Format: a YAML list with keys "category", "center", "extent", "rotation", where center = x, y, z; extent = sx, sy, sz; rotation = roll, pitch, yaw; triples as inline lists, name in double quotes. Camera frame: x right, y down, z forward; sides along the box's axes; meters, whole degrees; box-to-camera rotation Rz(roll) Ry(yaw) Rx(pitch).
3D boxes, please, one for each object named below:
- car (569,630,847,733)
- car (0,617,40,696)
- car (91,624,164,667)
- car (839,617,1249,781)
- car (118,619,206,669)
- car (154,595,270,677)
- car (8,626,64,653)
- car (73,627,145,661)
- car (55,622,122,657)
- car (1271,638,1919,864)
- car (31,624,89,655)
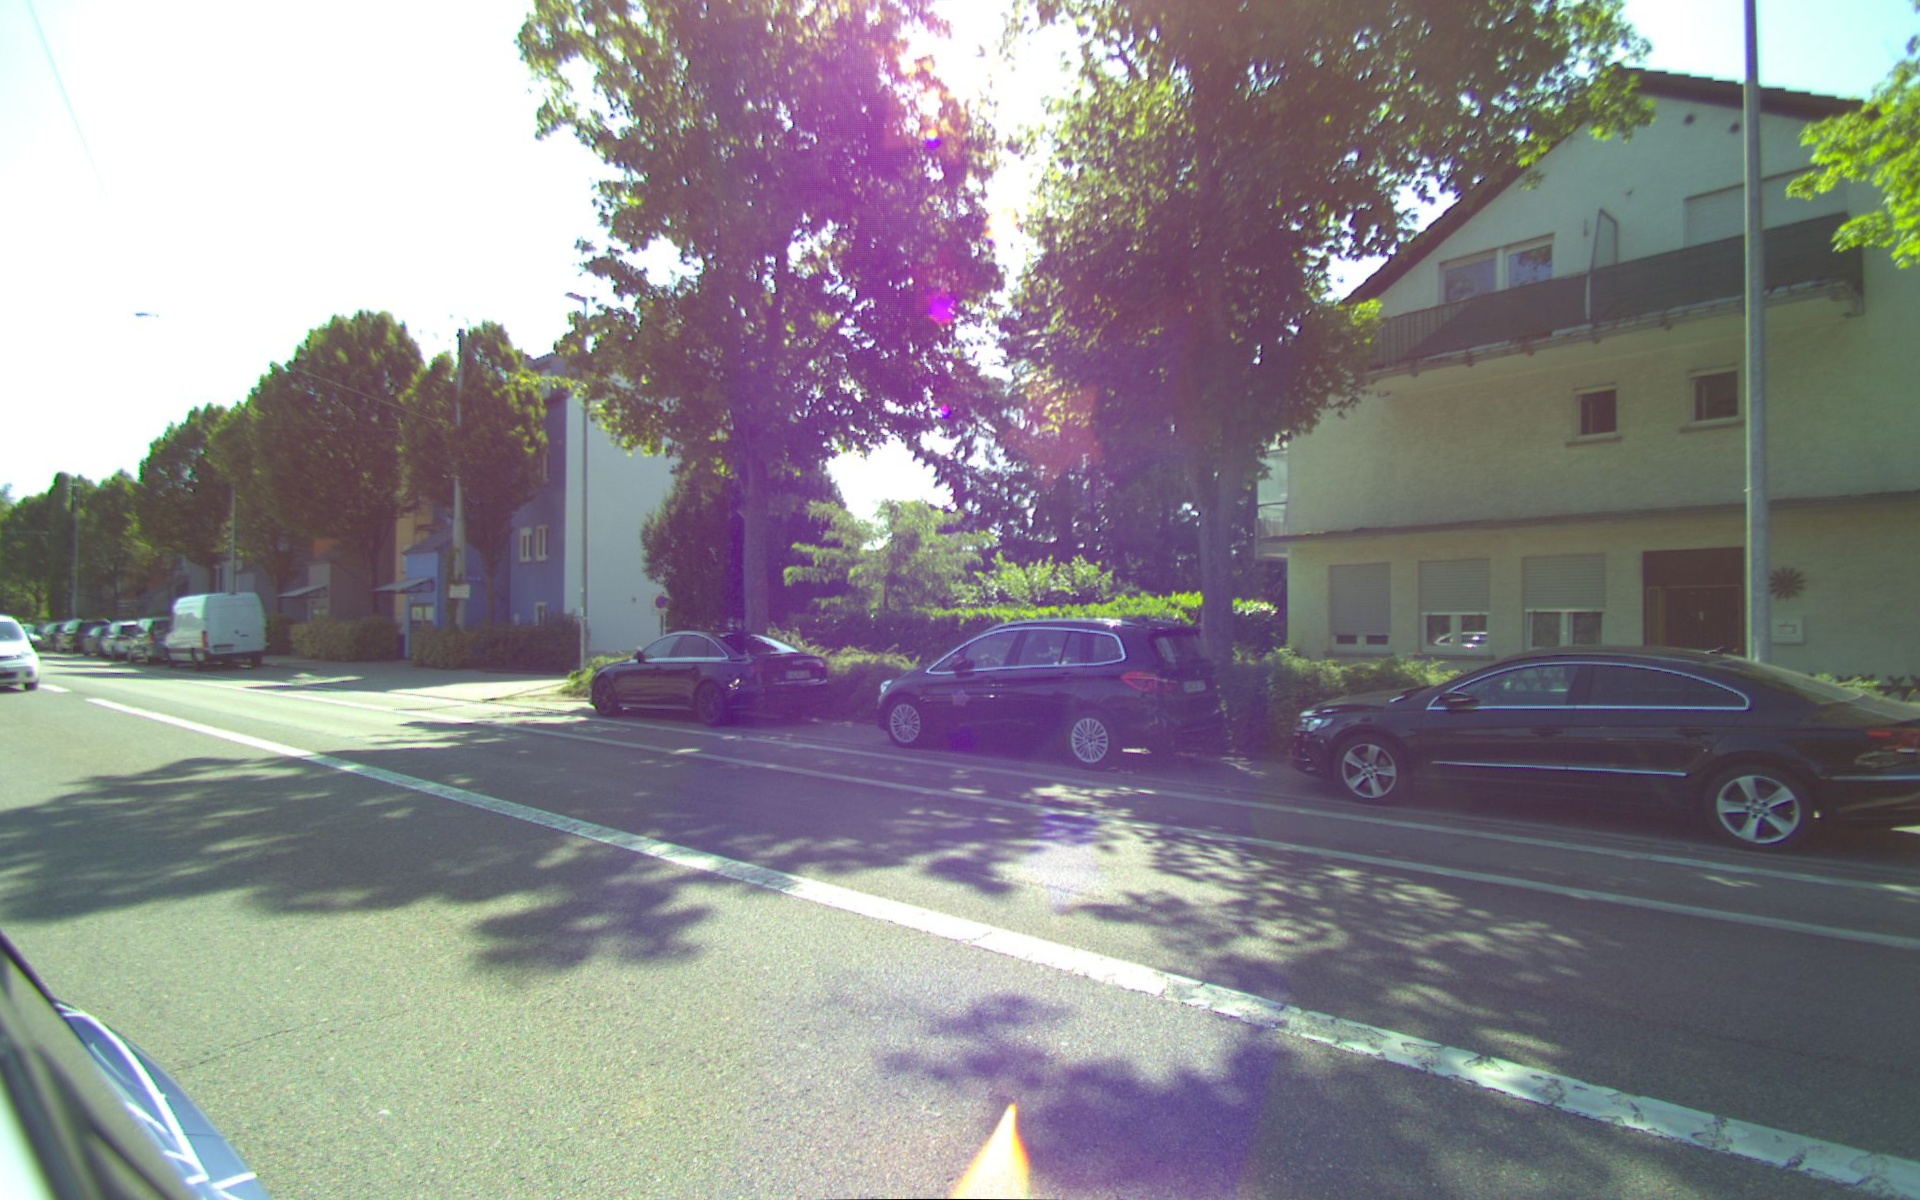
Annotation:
- category: "car"
  center: [-4.267, 1.230, 16.722]
  extent: [4.903, 1.477, 1.822]
  rotation: [-1, -2, 38]
- category: "car"
  center: [-20.884, 1.157, 21.269]
  extent: [4.391, 1.559, 1.762]
  rotation: [-1, -1, 40]
- category: "car"
  center: [-37.979, 2.029, 46.137]
  extent: [4.539, 1.715, 1.829]
  rotation: [-1, 2, 42]
- category: "car"
  center: [0.825, 1.039, 12.286]
  extent: [4.891, 1.618, 1.743]
  rotation: [-1, -2, 41]
- category: "car"
  center: [-33.698, 1.803, 42.679]
  extent: [4.964, 1.879, 1.973]
  rotation: [-1, 2, 41]
- category: "car"
  center: [-27.665, 1.276, 37.302]
  extent: [7.084, 2.697, 1.973]
  rotation: [-2, 1, 42]
- category: "car"
  center: [-54.860, 2.336, 60.060]
  extent: [4.206, 1.481, 1.662]
  rotation: [-1, -1, 37]
- category: "car"
  center: [-41.776, 2.120, 49.653]
  extent: [4.069, 1.466, 1.849]
  rotation: [-1, 1, 37]
- category: "car"
  center: [-45.776, 2.035, 53.110]
  extent: [4.343, 1.741, 1.812]
  rotation: [-1, 0, 38]
- category: "car"
  center: [5.220, 1.037, 8.391]
  extent: [4.779, 1.390, 1.673]
  rotation: [-2, -2, 41]
- category: "car"
  center: [-49.882, 2.139, 56.062]
  extent: [4.159, 1.619, 1.661]
  rotation: [-1, -1, 37]
